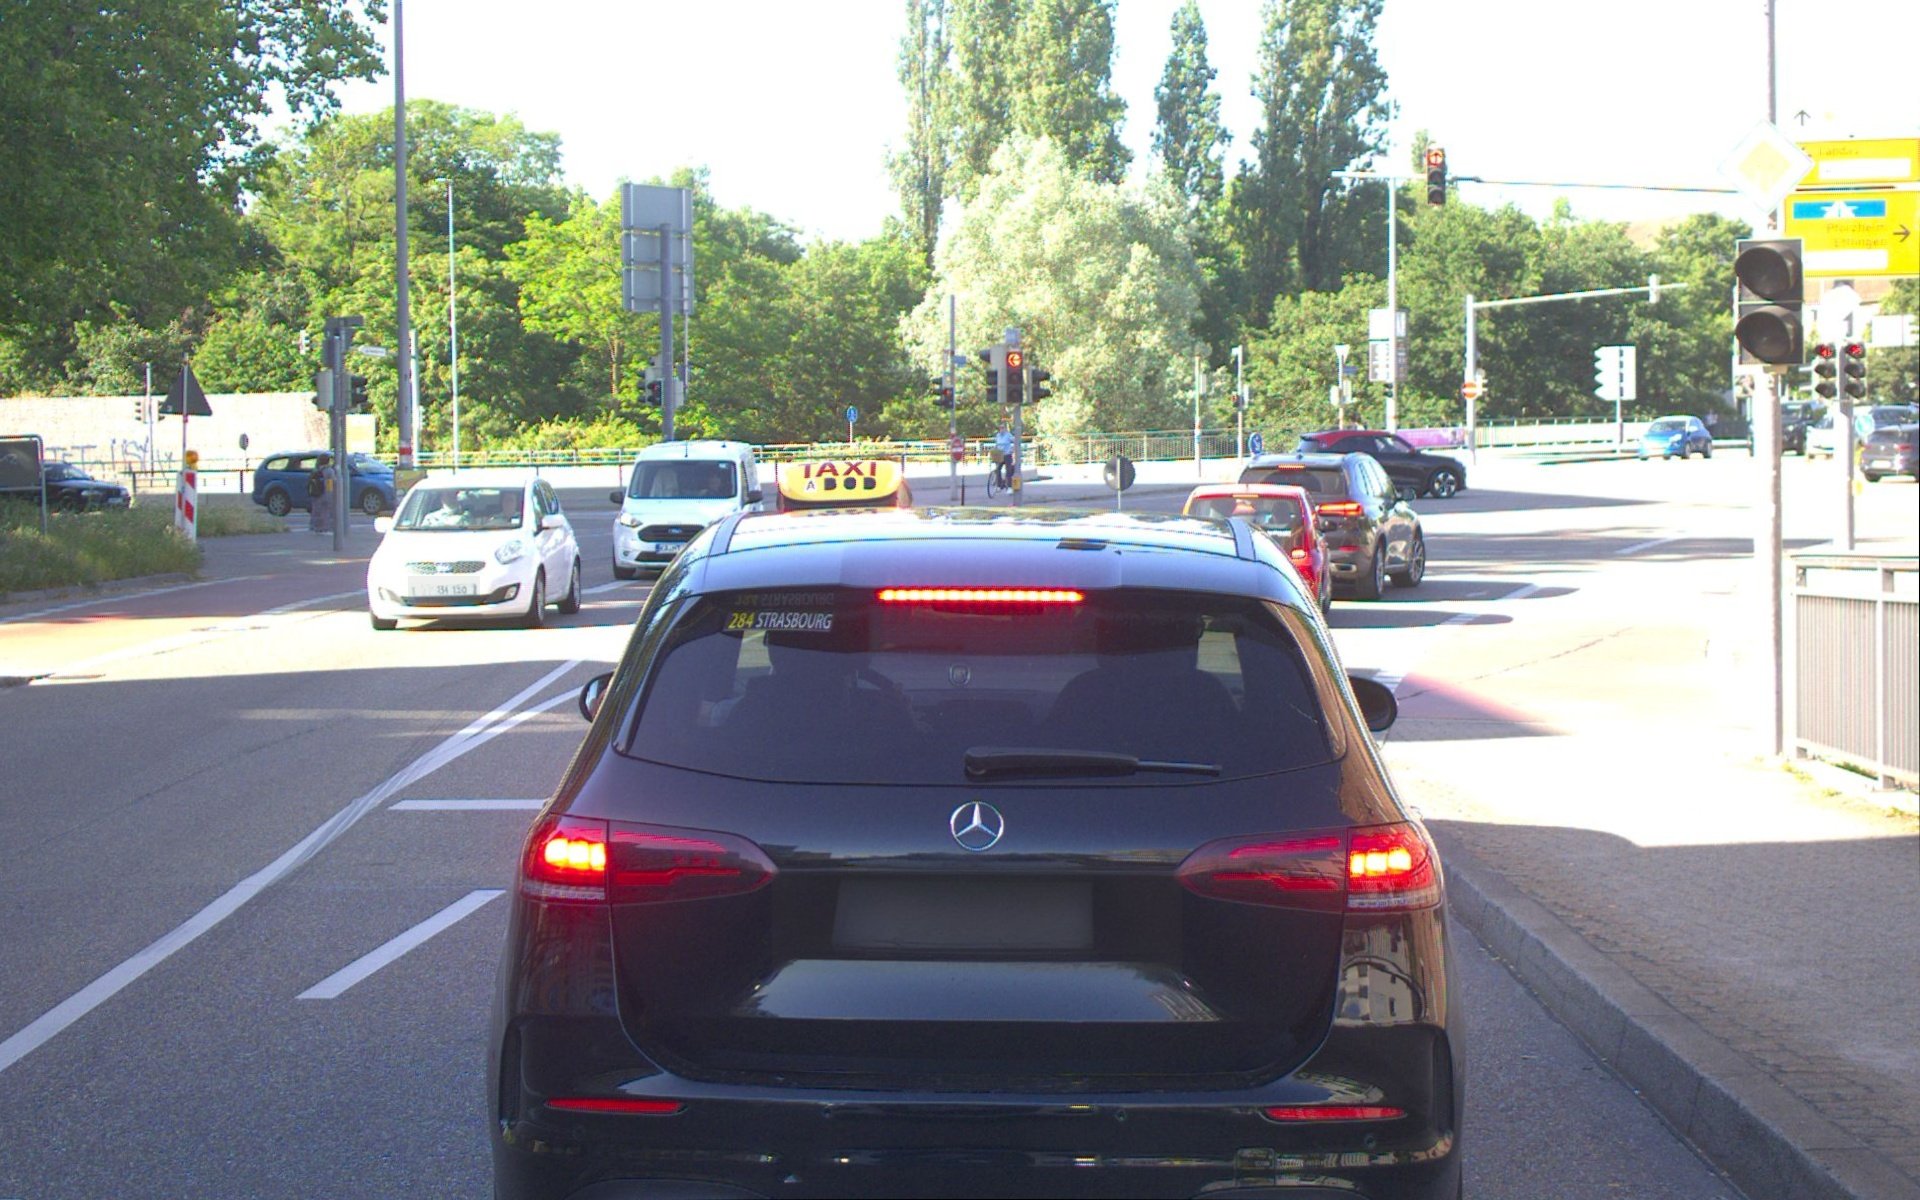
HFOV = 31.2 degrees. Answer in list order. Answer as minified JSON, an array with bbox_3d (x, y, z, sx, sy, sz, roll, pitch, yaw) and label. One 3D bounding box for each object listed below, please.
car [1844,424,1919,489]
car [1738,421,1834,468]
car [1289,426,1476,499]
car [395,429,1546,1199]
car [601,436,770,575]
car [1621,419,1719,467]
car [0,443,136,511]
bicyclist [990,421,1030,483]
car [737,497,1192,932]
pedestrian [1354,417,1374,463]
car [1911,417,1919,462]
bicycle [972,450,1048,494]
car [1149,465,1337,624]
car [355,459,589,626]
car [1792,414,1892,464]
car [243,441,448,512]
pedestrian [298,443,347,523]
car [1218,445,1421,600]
[{"bbox_3d":[24.602,-3.701,88.361,1.890,1.624,3.990,2,3,45],"label":"car"},{"bbox_3d":[28.414,-5.352,118.185,1.882,1.572,3.992,1,4,35],"label":"car"},{"bbox_3d":[9.848,-3.209,80.256,3.986,1.624,1.891,-1,2,-7],"label":"car"},{"bbox_3d":[-0.027,0.477,7.655,1.877,1.607,4.001,1,2,-1],"label":"car"},{"bbox_3d":[-3.756,-1.361,47.851,1.918,1.788,4.899,-2,3,0],"label":"car"},{"bbox_3d":[24.386,-5.397,118.020,1.882,1.572,3.992,1,4,35],"label":"car"},{"bbox_3d":[-22.645,-3.032,84.626,4.403,1.624,1.888,1,3,28],"label":"car"},{"bbox_3d":[1.263,-3.731,86.801,0.804,1.545,0.527,-3,3,-37],"label":"bicyclist"},{"bbox_3d":[0.050,0.373,14.414,1.640,1.524,3.474,-1,2,1],"label":"car"},{"bbox_3d":[13.885,-5.509,118.252,0.451,1.580,0.500,1,3,40],"label":"pedestrian"},{"bbox_3d":[35.932,-5.818,124.005,1.882,1.572,3.992,1,4,35],"label":"car"},{"bbox_3d":[1.266,-3.231,86.833,1.984,1.046,0.527,-4,3,-37],"label":"bicycle"},{"bbox_3d":[3.099,-0.641,37.121,1.722,1.516,3.485,0,4,10],"label":"car"},{"bbox_3d":[-5.182,-0.669,36.979,1.778,1.629,4.000,-1,3,2],"label":"car"},{"bbox_3d":[28.903,-5.283,112.651,1.882,1.572,3.992,1,4,35],"label":"car"},{"bbox_3d":[-14.413,-2.899,80.652,4.401,1.624,1.889,0,2,22],"label":"car"},{"bbox_3d":[-12.158,-2.230,65.554,0.705,1.520,0.743,1,2,10],"label":"pedestrian"},{"bbox_3d":[4.518,-1.003,42.734,1.723,1.806,4.294,0,2,17],"label":"car"}]
